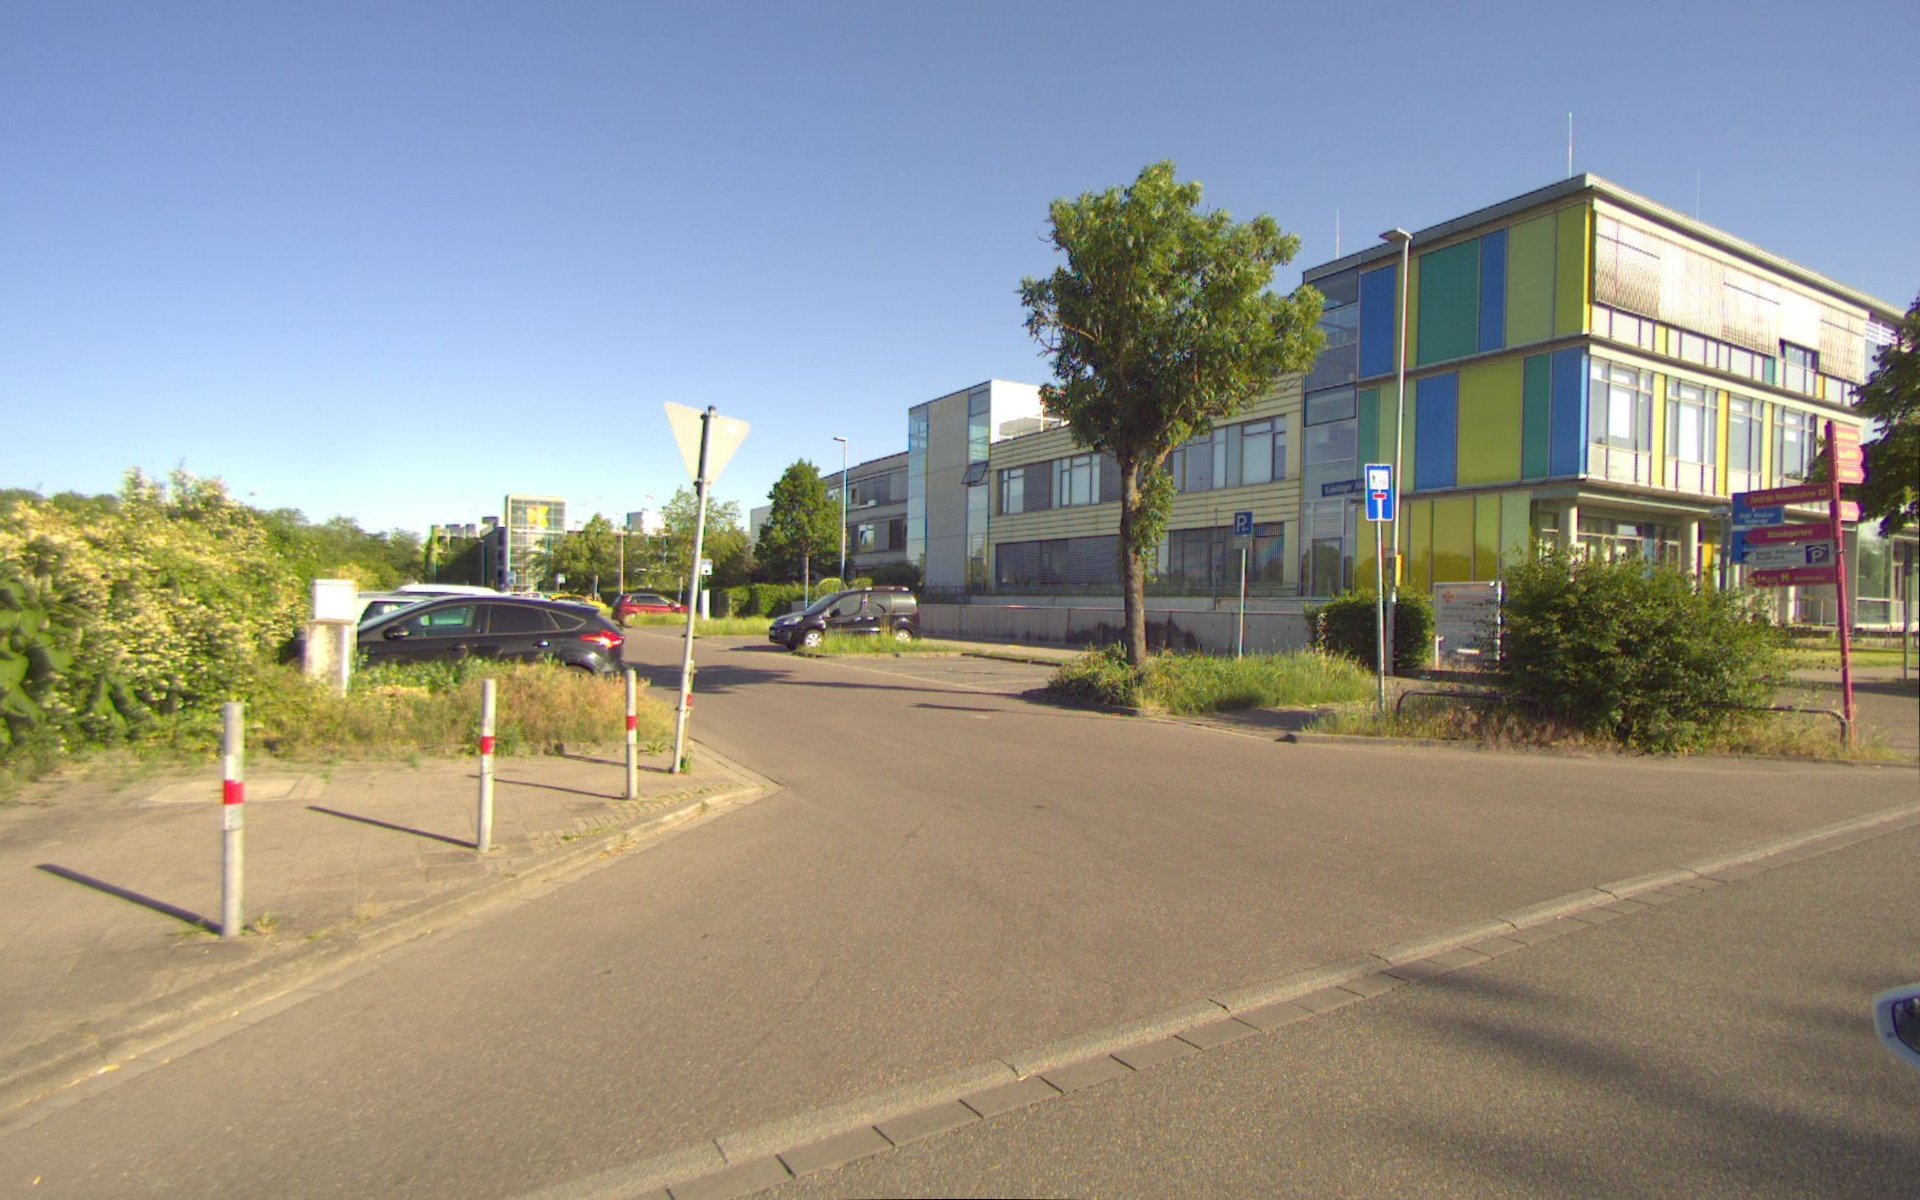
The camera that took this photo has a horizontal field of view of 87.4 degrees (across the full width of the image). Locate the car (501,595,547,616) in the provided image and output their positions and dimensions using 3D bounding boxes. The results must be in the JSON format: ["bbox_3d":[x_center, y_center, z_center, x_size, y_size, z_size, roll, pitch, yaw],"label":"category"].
[{"bbox_3d":[-42.898,0.566,98.902,3.953,2.040,1.984,1,0,-30],"label":"car"}]

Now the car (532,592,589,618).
[{"bbox_3d":[-31.830,0.427,80.008,3.953,2.040,1.984,1,0,-30],"label":"car"}]

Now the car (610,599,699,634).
[{"bbox_3d":[-15.408,0.820,50.657,3.953,1.724,1.984,1,0,-30],"label":"car"}]

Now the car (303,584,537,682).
[{"bbox_3d":[-10.176,0.604,19.224,3.793,1.717,1.501,1,0,-25],"label":"car"}]

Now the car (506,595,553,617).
[{"bbox_3d":[-41.308,0.599,96.336,3.953,2.040,1.984,1,0,-30],"label":"car"}]

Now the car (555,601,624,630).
[{"bbox_3d":[-25.876,1.102,70.173,4.334,1.966,1.987,1,0,-26],"label":"car"}]

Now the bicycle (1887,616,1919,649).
[{"bbox_3d":[35.691,1.205,37.431,1.963,1.169,0.867,2,1,-21],"label":"bicycle"}]

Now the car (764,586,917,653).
[{"bbox_3d":[-3.394,0.546,28.635,4.047,1.813,1.501,1,0,-25],"label":"car"}]

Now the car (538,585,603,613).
[{"bbox_3d":[-29.681,-0.072,76.493,4.342,2.040,1.984,1,0,-30],"label":"car"}]

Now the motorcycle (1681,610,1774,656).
[{"bbox_3d":[21.930,0.923,28.732,0.493,1.165,2.031,0,3,-32],"label":"motorcycle"}]

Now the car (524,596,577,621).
[{"bbox_3d":[-35.073,0.729,85.980,3.953,2.040,1.984,1,0,-30],"label":"car"}]
